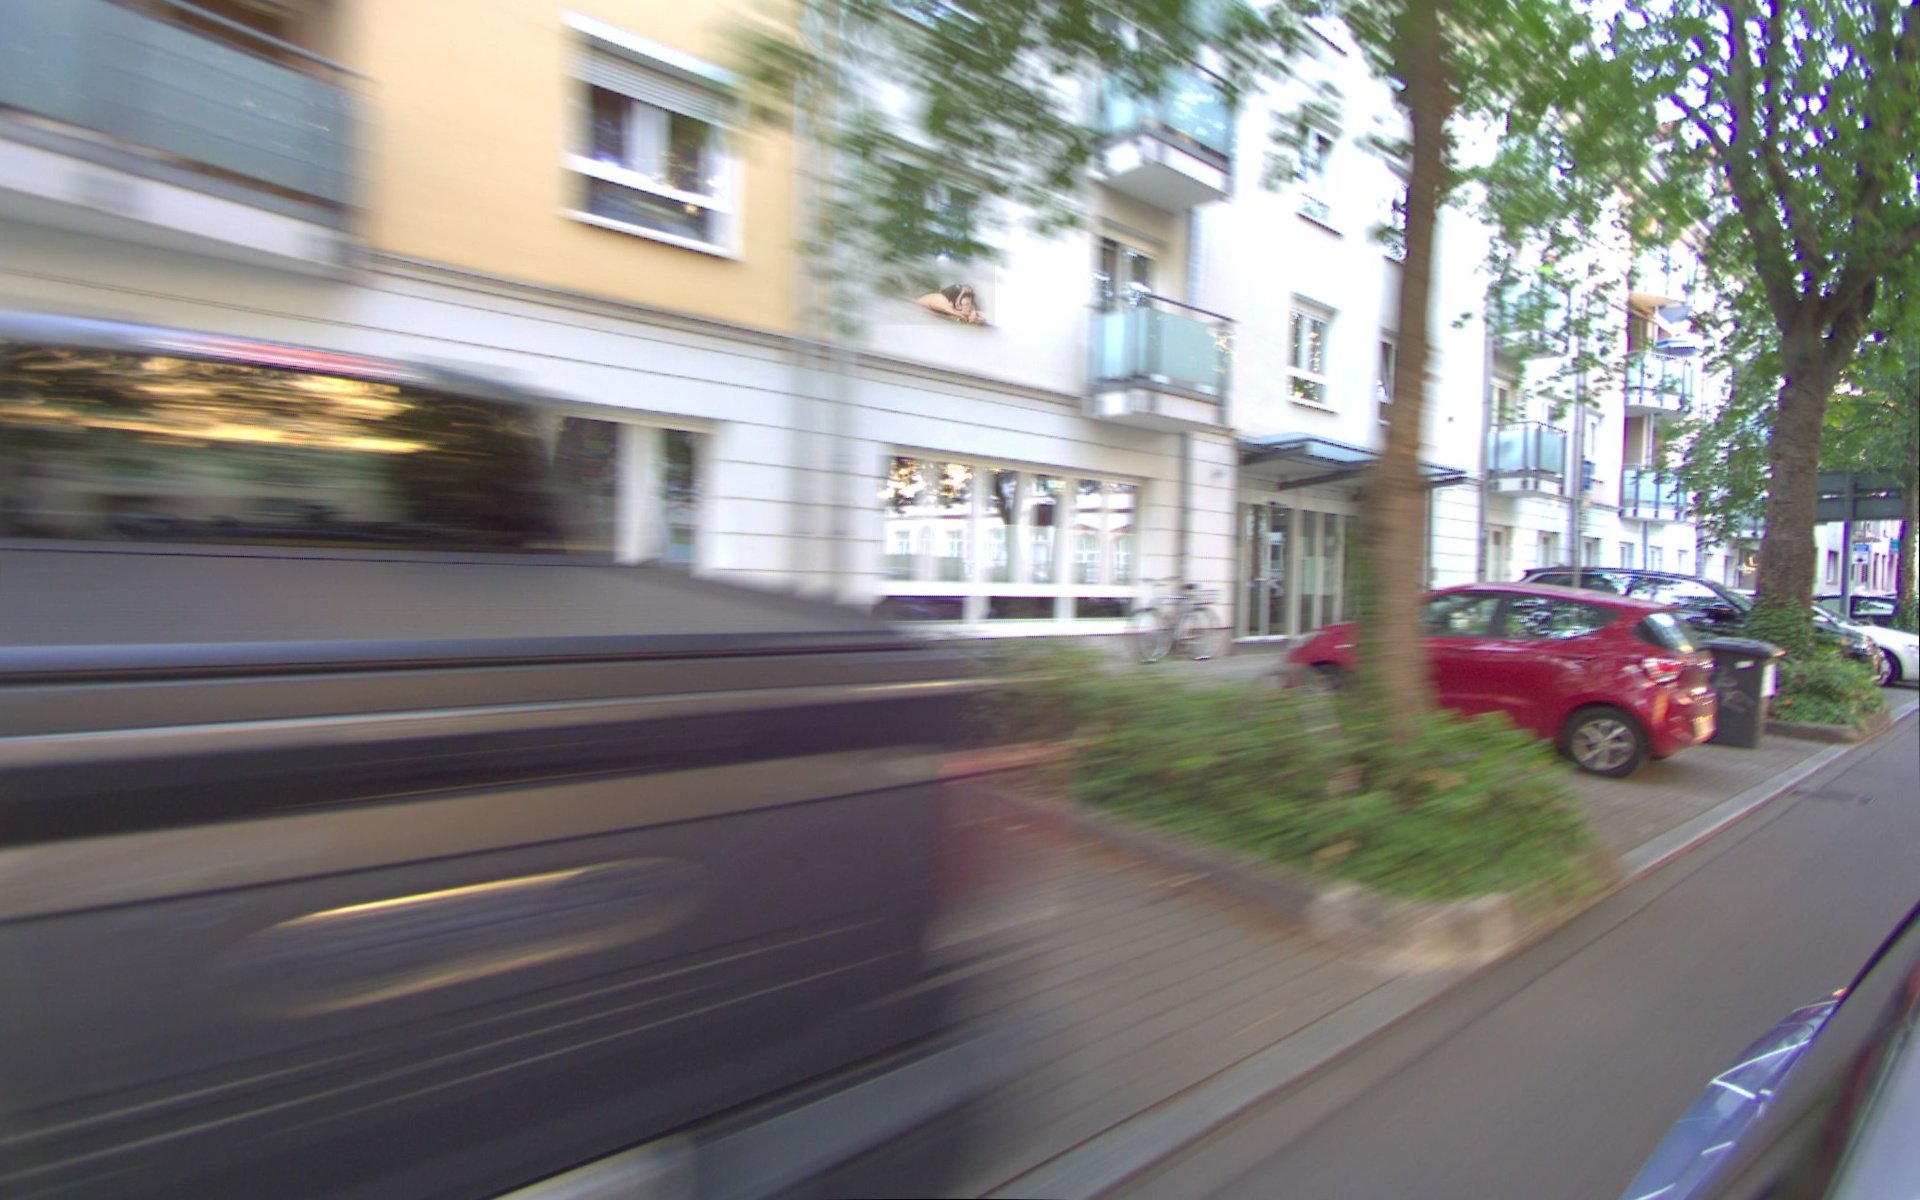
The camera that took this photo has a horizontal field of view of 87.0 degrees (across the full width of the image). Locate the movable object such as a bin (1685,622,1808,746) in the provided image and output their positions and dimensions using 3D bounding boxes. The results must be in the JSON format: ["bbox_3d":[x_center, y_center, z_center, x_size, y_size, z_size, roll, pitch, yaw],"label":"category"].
[{"bbox_3d":[7.790,0.802,10.031,0.771,1.097,0.762,1,3,-40],"label":"movable object such as a bin"}]

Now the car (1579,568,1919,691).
[{"bbox_3d":[13.002,0.379,16.752,1.894,1.455,4.238,0,5,-38],"label":"car"}]

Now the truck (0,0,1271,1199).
[{"bbox_3d":[-2.186,-0.136,3.326,2.173,2.339,5.901,0,2,-40],"label":"truck"}]

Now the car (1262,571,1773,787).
[{"bbox_3d":[5.002,0.533,9.453,1.845,1.563,3.782,0,1,-42],"label":"car"}]

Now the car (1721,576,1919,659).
[{"bbox_3d":[19.445,0.367,22.223,4.087,1.468,1.904,7,5,44],"label":"car"}]

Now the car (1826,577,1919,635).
[{"bbox_3d":[29.726,0.227,31.445,1.883,1.604,3.979,0,4,-41],"label":"car"}]

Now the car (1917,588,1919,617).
[{"bbox_3d":[50.778,0.306,49.932,2.005,1.465,4.855,0,4,-38],"label":"car"}]

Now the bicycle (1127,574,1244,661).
[{"bbox_3d":[2.952,0.212,13.152,1.849,1.049,0.425,0,3,-41],"label":"bicycle"}]

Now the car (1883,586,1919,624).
[{"bbox_3d":[39.605,0.341,39.841,1.973,1.444,4.476,0,4,-36],"label":"car"}]

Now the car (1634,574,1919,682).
[{"bbox_3d":[15.067,0.438,18.126,1.765,1.485,4.611,0,5,-41],"label":"car"}]

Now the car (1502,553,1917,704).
[{"bbox_3d":[11.019,0.287,15.154,1.977,1.636,4.649,0,5,-44],"label":"car"}]
